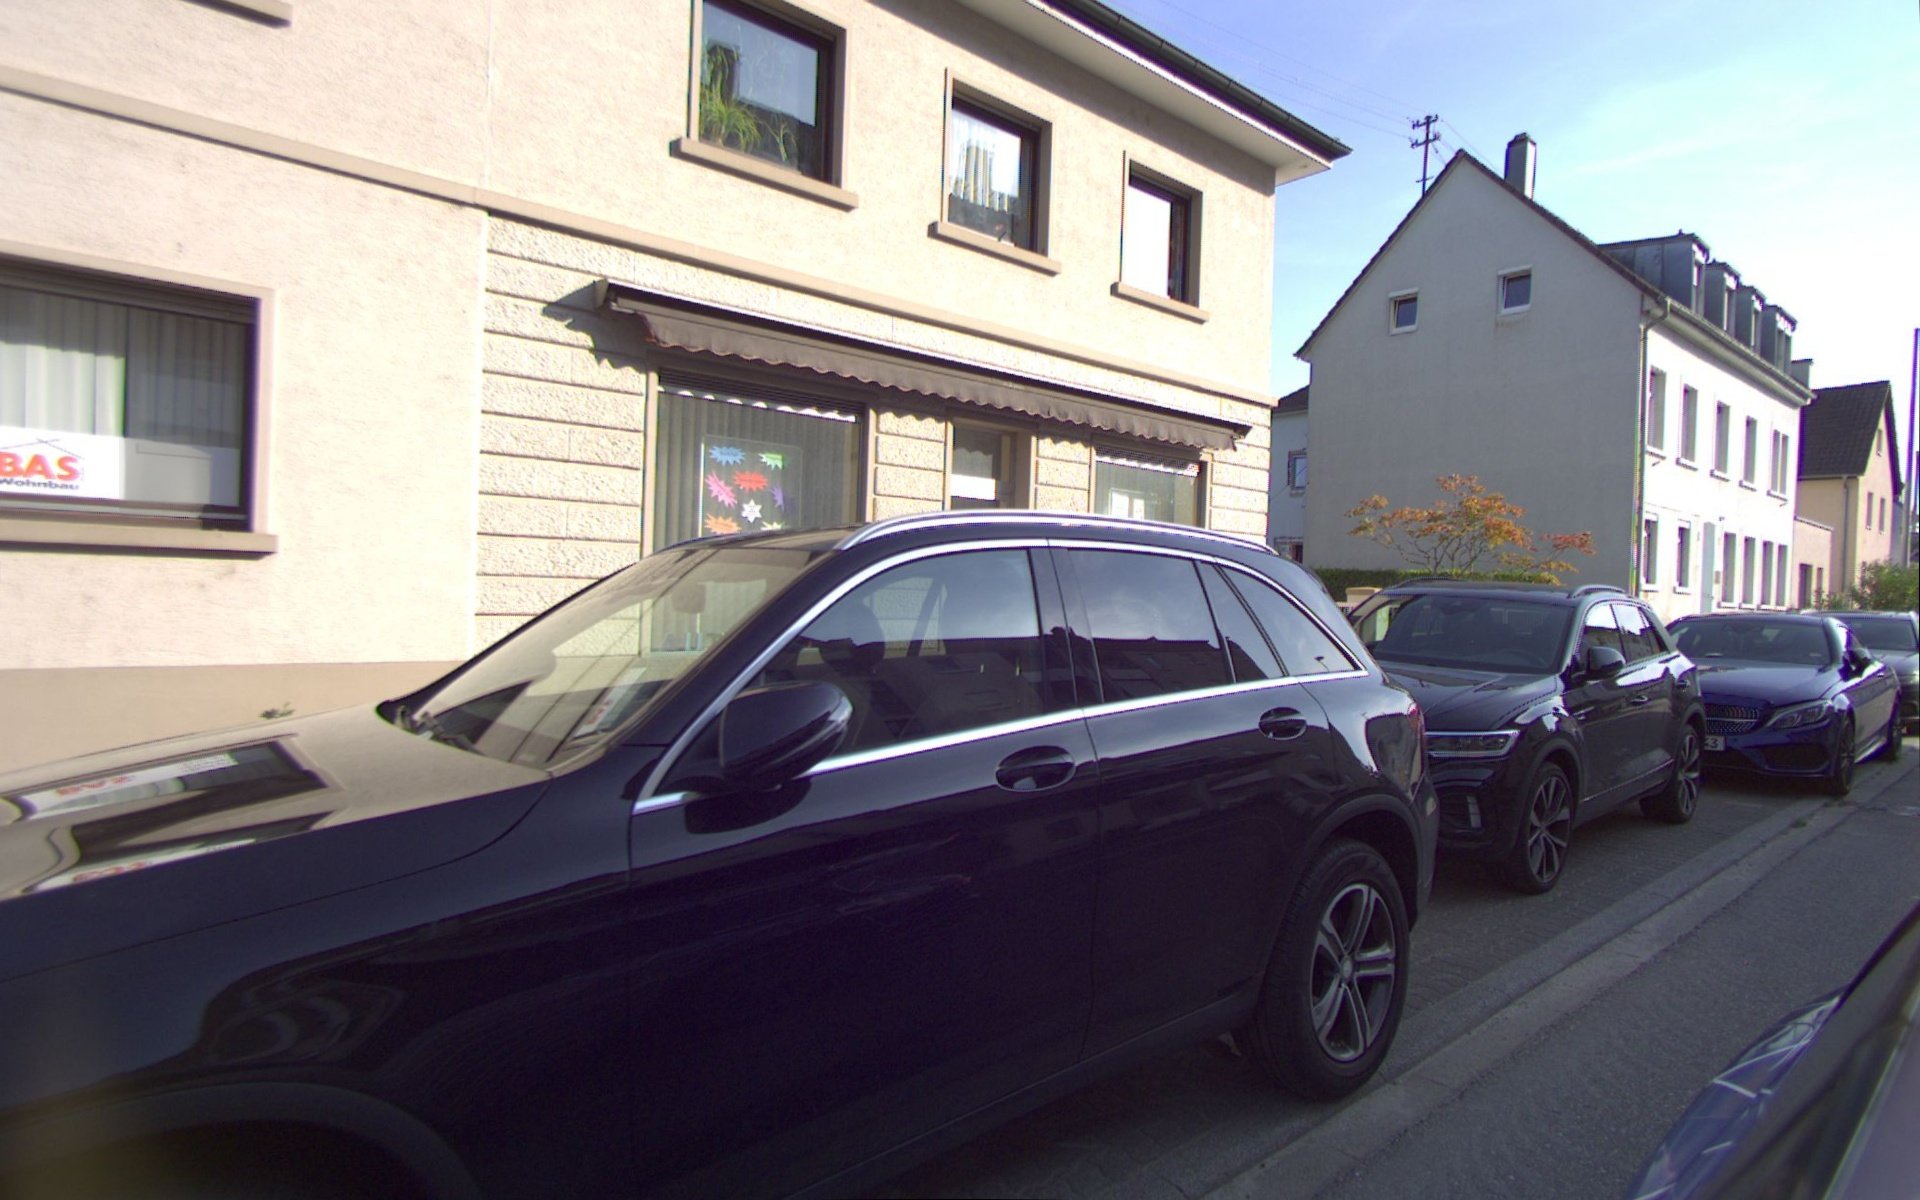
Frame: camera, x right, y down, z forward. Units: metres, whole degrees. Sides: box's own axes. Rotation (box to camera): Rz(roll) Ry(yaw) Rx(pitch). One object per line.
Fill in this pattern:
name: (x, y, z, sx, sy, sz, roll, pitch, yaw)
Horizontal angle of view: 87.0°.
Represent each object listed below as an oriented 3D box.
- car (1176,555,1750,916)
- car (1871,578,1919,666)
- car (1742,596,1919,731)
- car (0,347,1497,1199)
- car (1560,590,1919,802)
car: (3.470, 0.588, 6.589, 4.242, 1.579, 1.833, 1, 2, -41)
car: (22.773, 0.552, 23.116, 4.525, 1.878, 2.082, 2, 2, -38)
car: (11.878, 0.731, 13.234, 4.417, 1.438, 1.783, 1, 1, -41)
car: (-0.473, 0.535, 2.715, 4.383, 1.650, 1.834, 1, 2, -40)
car: (7.469, 0.701, 9.403, 4.527, 1.437, 1.834, 1, 2, -40)
